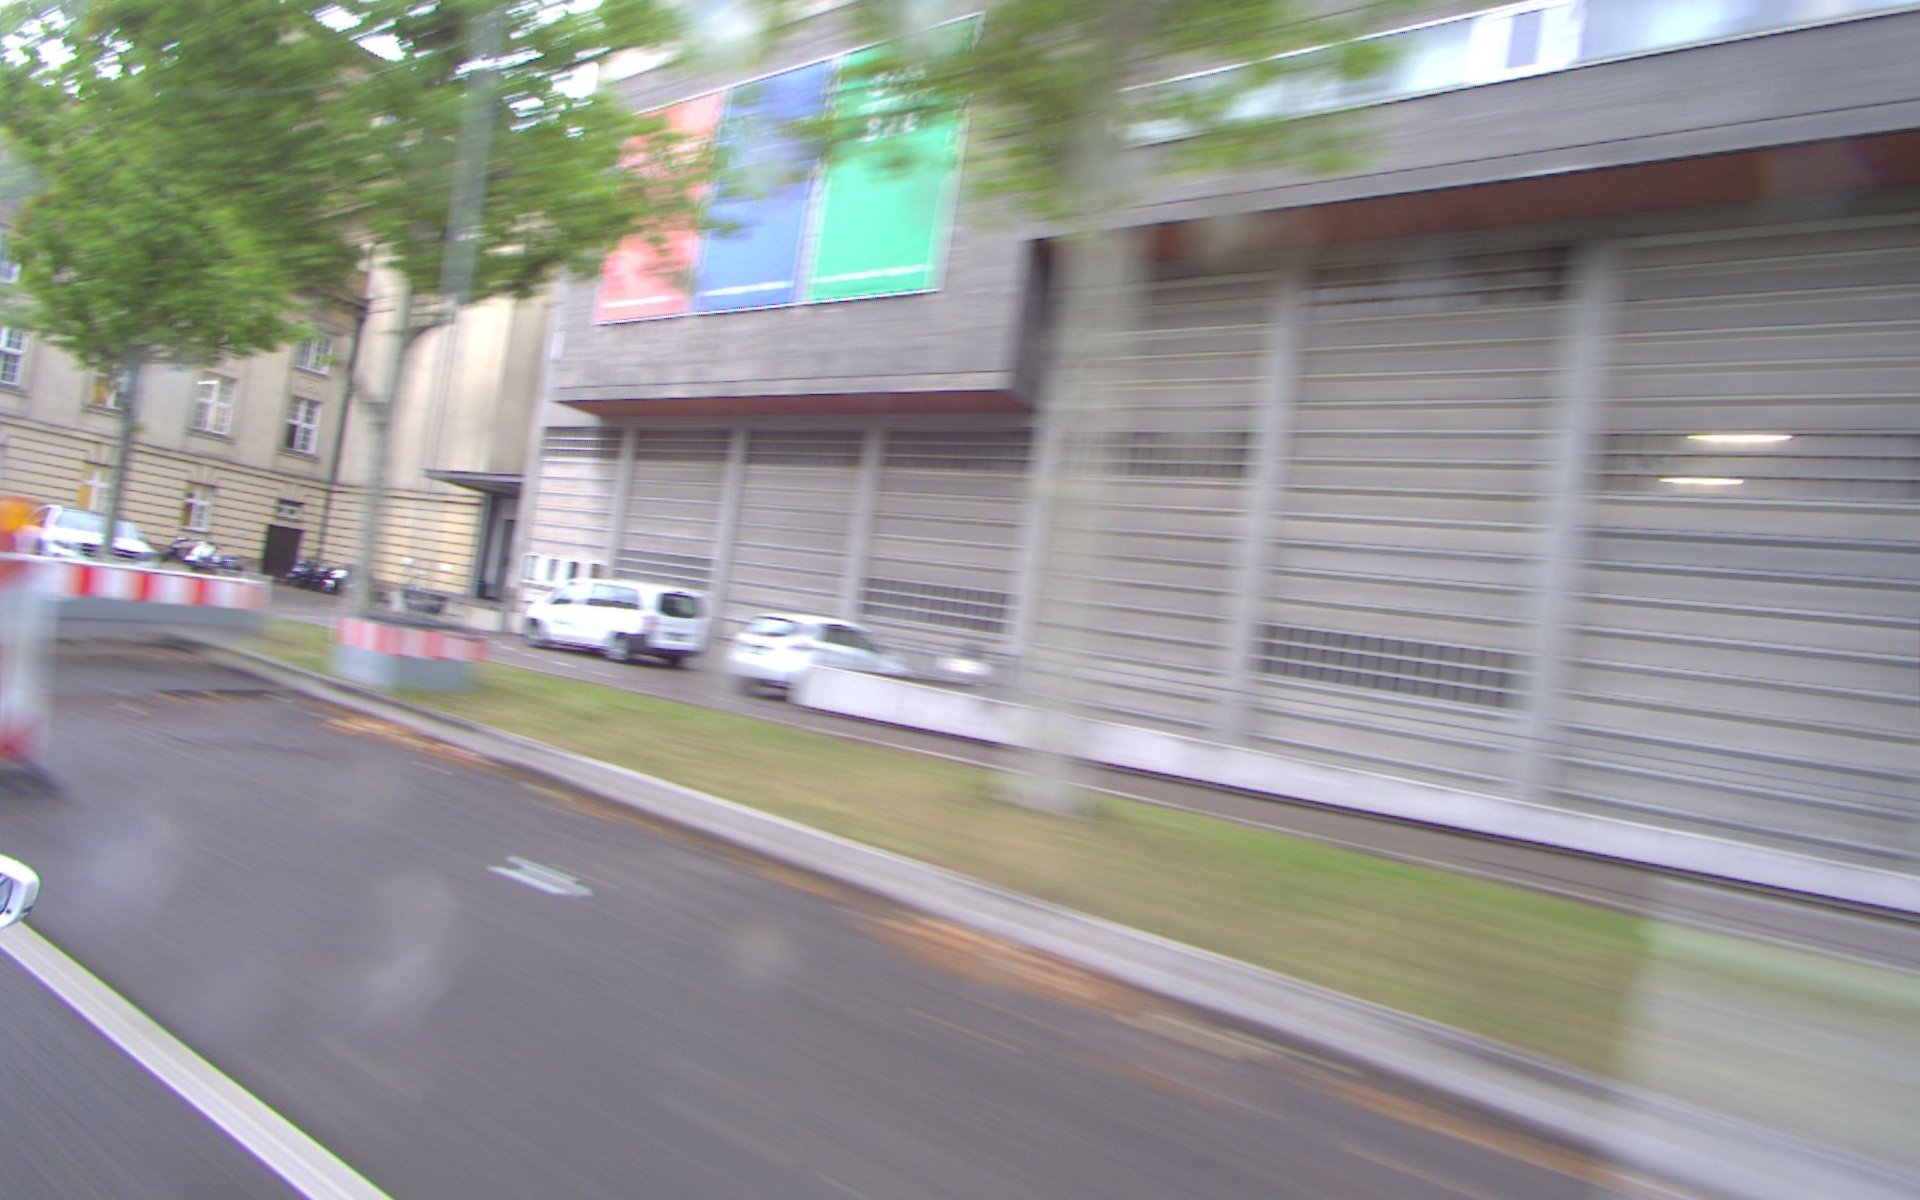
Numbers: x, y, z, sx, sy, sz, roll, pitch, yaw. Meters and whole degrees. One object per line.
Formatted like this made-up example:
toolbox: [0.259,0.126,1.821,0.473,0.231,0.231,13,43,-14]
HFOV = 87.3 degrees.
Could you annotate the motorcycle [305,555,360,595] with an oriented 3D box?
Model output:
motorcycle: [-26.658,-1.068,42.757,0.724,1.422,1.662,7,-2,38]

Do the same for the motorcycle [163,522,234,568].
motorcycle: [-30.681,-2.214,40.560,0.873,1.489,1.973,7,-2,35]

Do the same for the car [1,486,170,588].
car: [-19.009,-1.401,21.793,4.427,1.703,1.955,6,-3,40]

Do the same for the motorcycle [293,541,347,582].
motorcycle: [-27.648,-1.640,43.462,0.724,1.490,1.662,7,-2,38]

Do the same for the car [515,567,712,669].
car: [-8.537,0.413,24.644,4.803,1.808,1.777,7,-2,32]

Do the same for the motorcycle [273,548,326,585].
motorcycle: [-29.095,-1.479,44.346,0.724,1.353,1.662,7,-2,38]

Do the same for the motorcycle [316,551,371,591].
motorcycle: [-25.726,-1.209,42.010,0.724,1.382,1.662,7,-2,38]

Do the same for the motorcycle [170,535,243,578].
motorcycle: [-29.410,-1.692,39.293,0.837,1.208,1.978,7,-7,35]

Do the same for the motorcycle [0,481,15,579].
motorcycle: [-19.534,-1.453,19.684,2.548,1.926,0.749,7,-2,33]

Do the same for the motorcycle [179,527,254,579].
motorcycle: [-28.569,-1.800,38.671,0.837,1.561,1.975,9,-3,36]

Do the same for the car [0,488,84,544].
car: [-33.664,-3.099,36.433,4.437,1.557,1.821,7,-2,35]

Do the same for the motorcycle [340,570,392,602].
motorcycle: [-24.624,-0.567,41.724,0.473,1.081,1.662,7,-2,38]

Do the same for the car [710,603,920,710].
car: [-2.675,1.152,19.395,1.750,1.597,3.845,7,-3,33]
